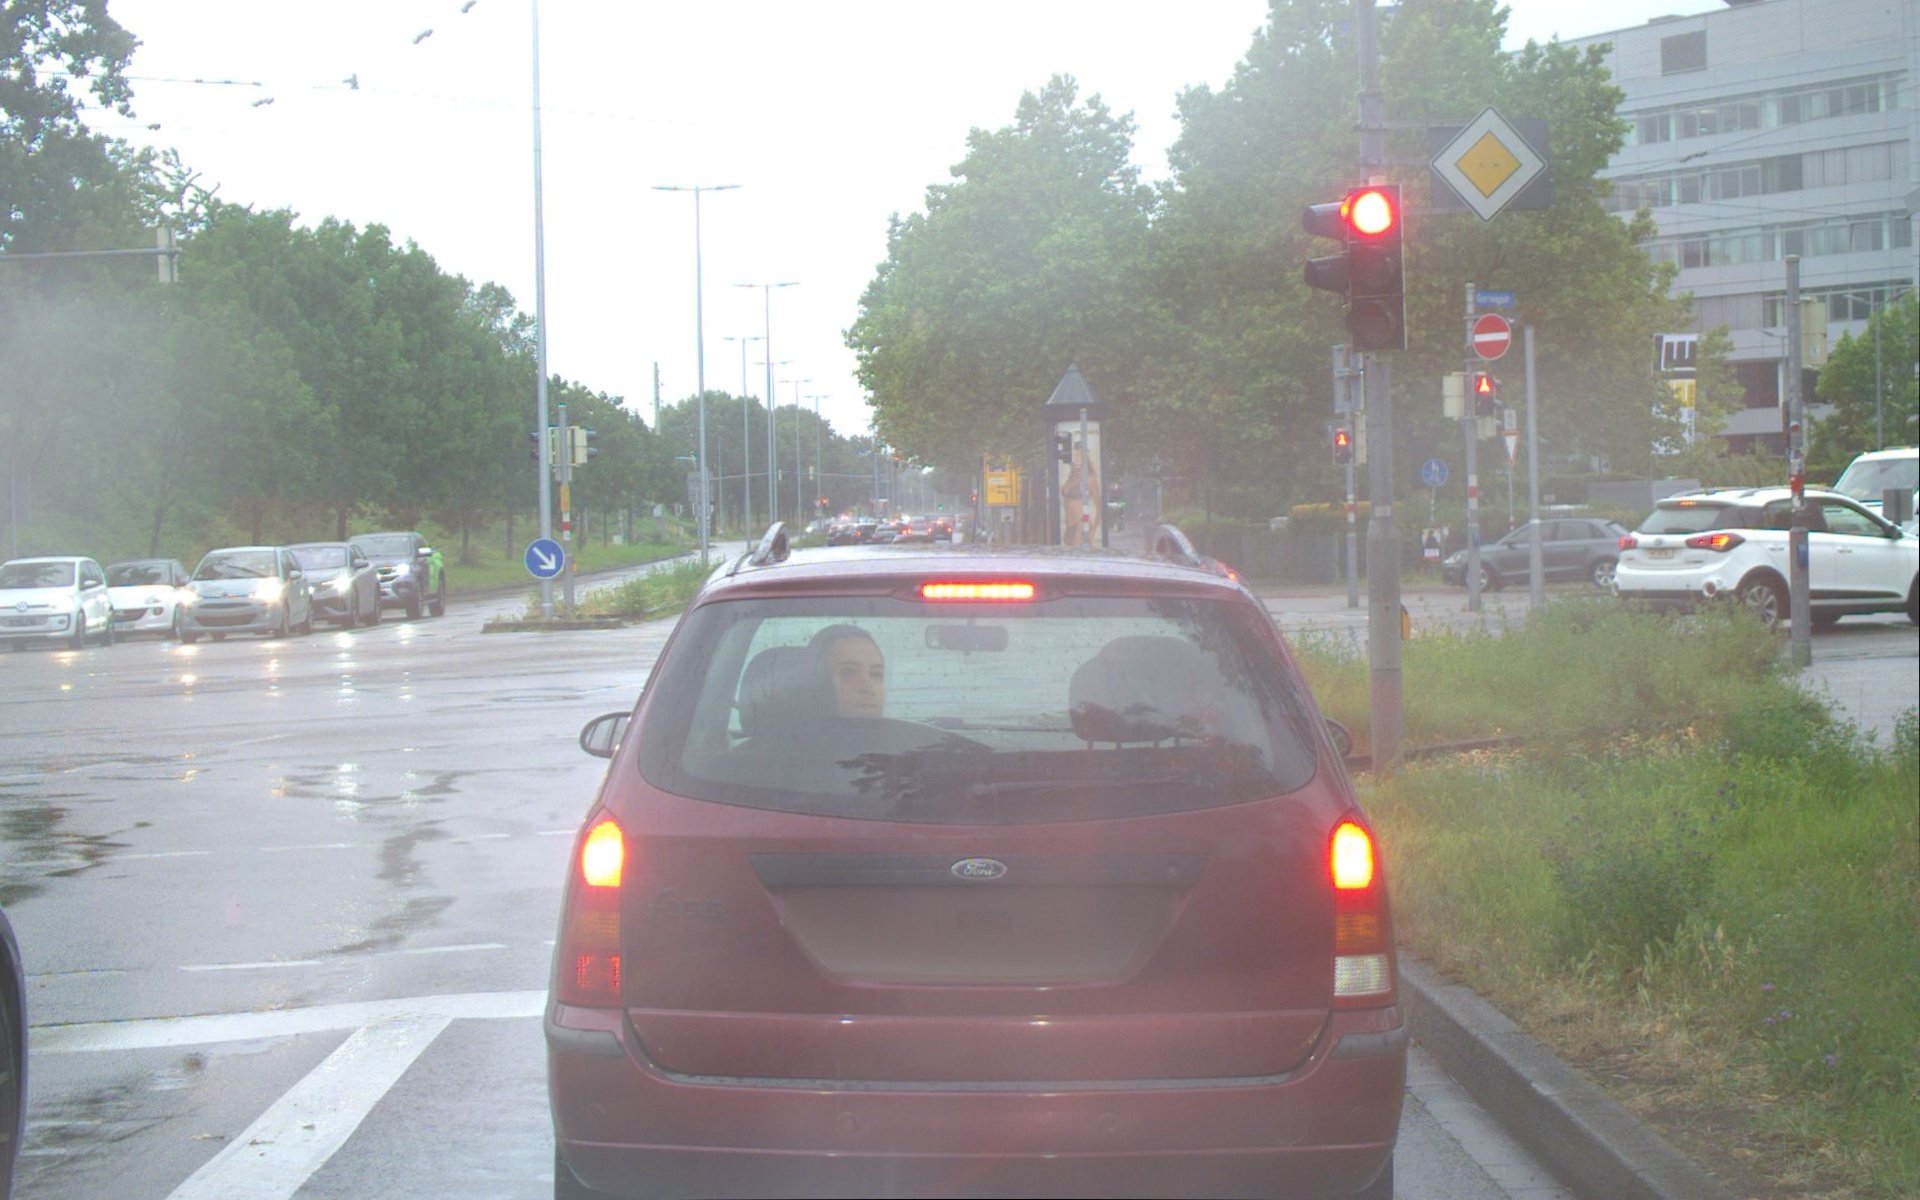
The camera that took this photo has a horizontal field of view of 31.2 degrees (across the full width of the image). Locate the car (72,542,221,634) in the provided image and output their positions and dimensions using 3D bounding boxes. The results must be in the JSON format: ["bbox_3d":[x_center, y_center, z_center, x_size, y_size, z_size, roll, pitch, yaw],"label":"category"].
[{"bbox_3d":[-14.508,-0.244,61.504,1.712,1.525,4.000,-1,1,-1],"label":"car"}]

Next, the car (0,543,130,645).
[{"bbox_3d":[-14.600,-0.121,54.966,1.712,1.525,4.000,-1,1,-1],"label":"car"}]

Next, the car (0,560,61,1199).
[{"bbox_3d":[-2.690,0.677,4.839,1.690,1.428,4.574,0,1,-1],"label":"car"}]

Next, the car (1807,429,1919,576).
[{"bbox_3d":[15.508,-1.611,53.927,4.374,2.183,1.802,-5,3,-35],"label":"car"}]

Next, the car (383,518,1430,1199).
[{"bbox_3d":[-0.119,0.595,8.132,1.796,1.532,4.387,1,1,-1],"label":"car"}]

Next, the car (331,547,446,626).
[{"bbox_3d":[-11.718,-0.300,70.729,1.712,1.525,4.000,-1,1,-1],"label":"car"}]

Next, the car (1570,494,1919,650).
[{"bbox_3d":[8.626,-0.323,36.092,4.050,1.515,2.000,-2,1,-32],"label":"car"}]

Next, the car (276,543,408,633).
[{"bbox_3d":[-11.296,-0.245,63.047,1.712,1.525,4.000,-1,1,-1],"label":"car"}]

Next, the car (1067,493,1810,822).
[{"bbox_3d":[2.882,0.241,20.118,4.375,1.531,1.801,-5,4,-40],"label":"car"}]

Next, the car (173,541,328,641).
[{"bbox_3d":[-11.546,-0.175,56.186,1.712,1.525,4.000,-1,1,-1],"label":"car"}]
